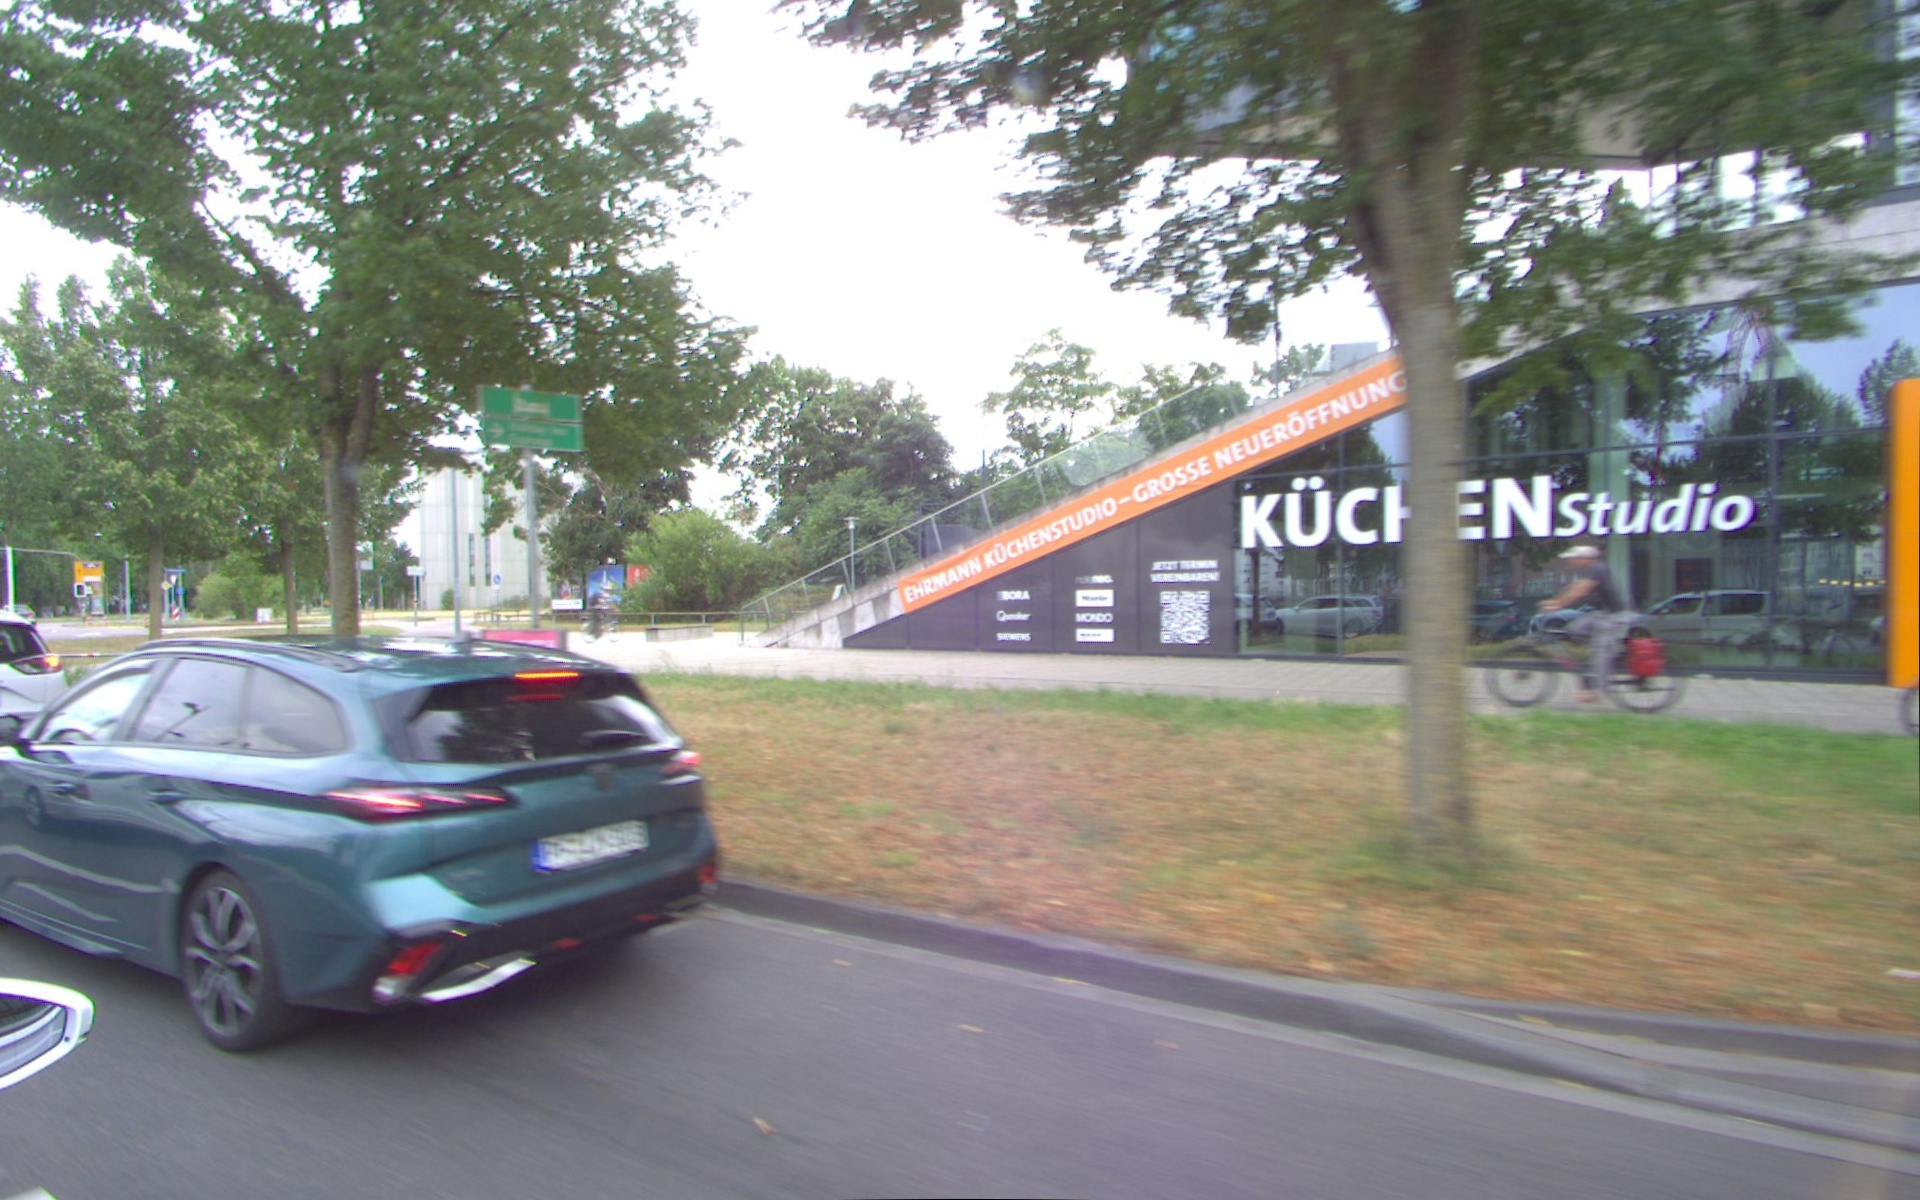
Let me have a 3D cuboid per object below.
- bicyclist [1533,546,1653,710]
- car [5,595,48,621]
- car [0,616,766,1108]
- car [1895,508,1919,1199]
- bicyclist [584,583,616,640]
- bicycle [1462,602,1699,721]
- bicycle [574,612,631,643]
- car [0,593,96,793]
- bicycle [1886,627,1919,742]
[{"bbox_3d":[7.210,0.287,11.468,1.113,1.761,0.994,0,4,31],"label":"bicyclist"},{"bbox_3d":[-62.128,0.497,66.630,4.352,1.658,1.774,0,0,42],"label":"car"},{"bbox_3d":[-3.165,0.817,4.827,4.245,1.450,1.786,0,-1,29],"label":"car"},{"bbox_3d":[3.632,0.607,0.766,3.966,1.678,1.775,0,0,32],"label":"car"},{"bbox_3d":[-12.205,0.376,33.962,0.724,1.911,0.727,0,1,32],"label":"bicyclist"},{"bbox_3d":[7.074,0.657,11.543,2.234,1.251,0.900,0,1,31],"label":"bicycle"},{"bbox_3d":[-12.136,0.923,34.047,0.556,0.997,1.930,0,0,31],"label":"bicycle"},{"bbox_3d":[-9.661,0.771,9.040,3.854,1.646,1.783,0,0,33],"label":"car"},{"bbox_3d":[9.229,0.727,8.368,2.075,0.968,0.629,0,1,28],"label":"bicycle"}]
